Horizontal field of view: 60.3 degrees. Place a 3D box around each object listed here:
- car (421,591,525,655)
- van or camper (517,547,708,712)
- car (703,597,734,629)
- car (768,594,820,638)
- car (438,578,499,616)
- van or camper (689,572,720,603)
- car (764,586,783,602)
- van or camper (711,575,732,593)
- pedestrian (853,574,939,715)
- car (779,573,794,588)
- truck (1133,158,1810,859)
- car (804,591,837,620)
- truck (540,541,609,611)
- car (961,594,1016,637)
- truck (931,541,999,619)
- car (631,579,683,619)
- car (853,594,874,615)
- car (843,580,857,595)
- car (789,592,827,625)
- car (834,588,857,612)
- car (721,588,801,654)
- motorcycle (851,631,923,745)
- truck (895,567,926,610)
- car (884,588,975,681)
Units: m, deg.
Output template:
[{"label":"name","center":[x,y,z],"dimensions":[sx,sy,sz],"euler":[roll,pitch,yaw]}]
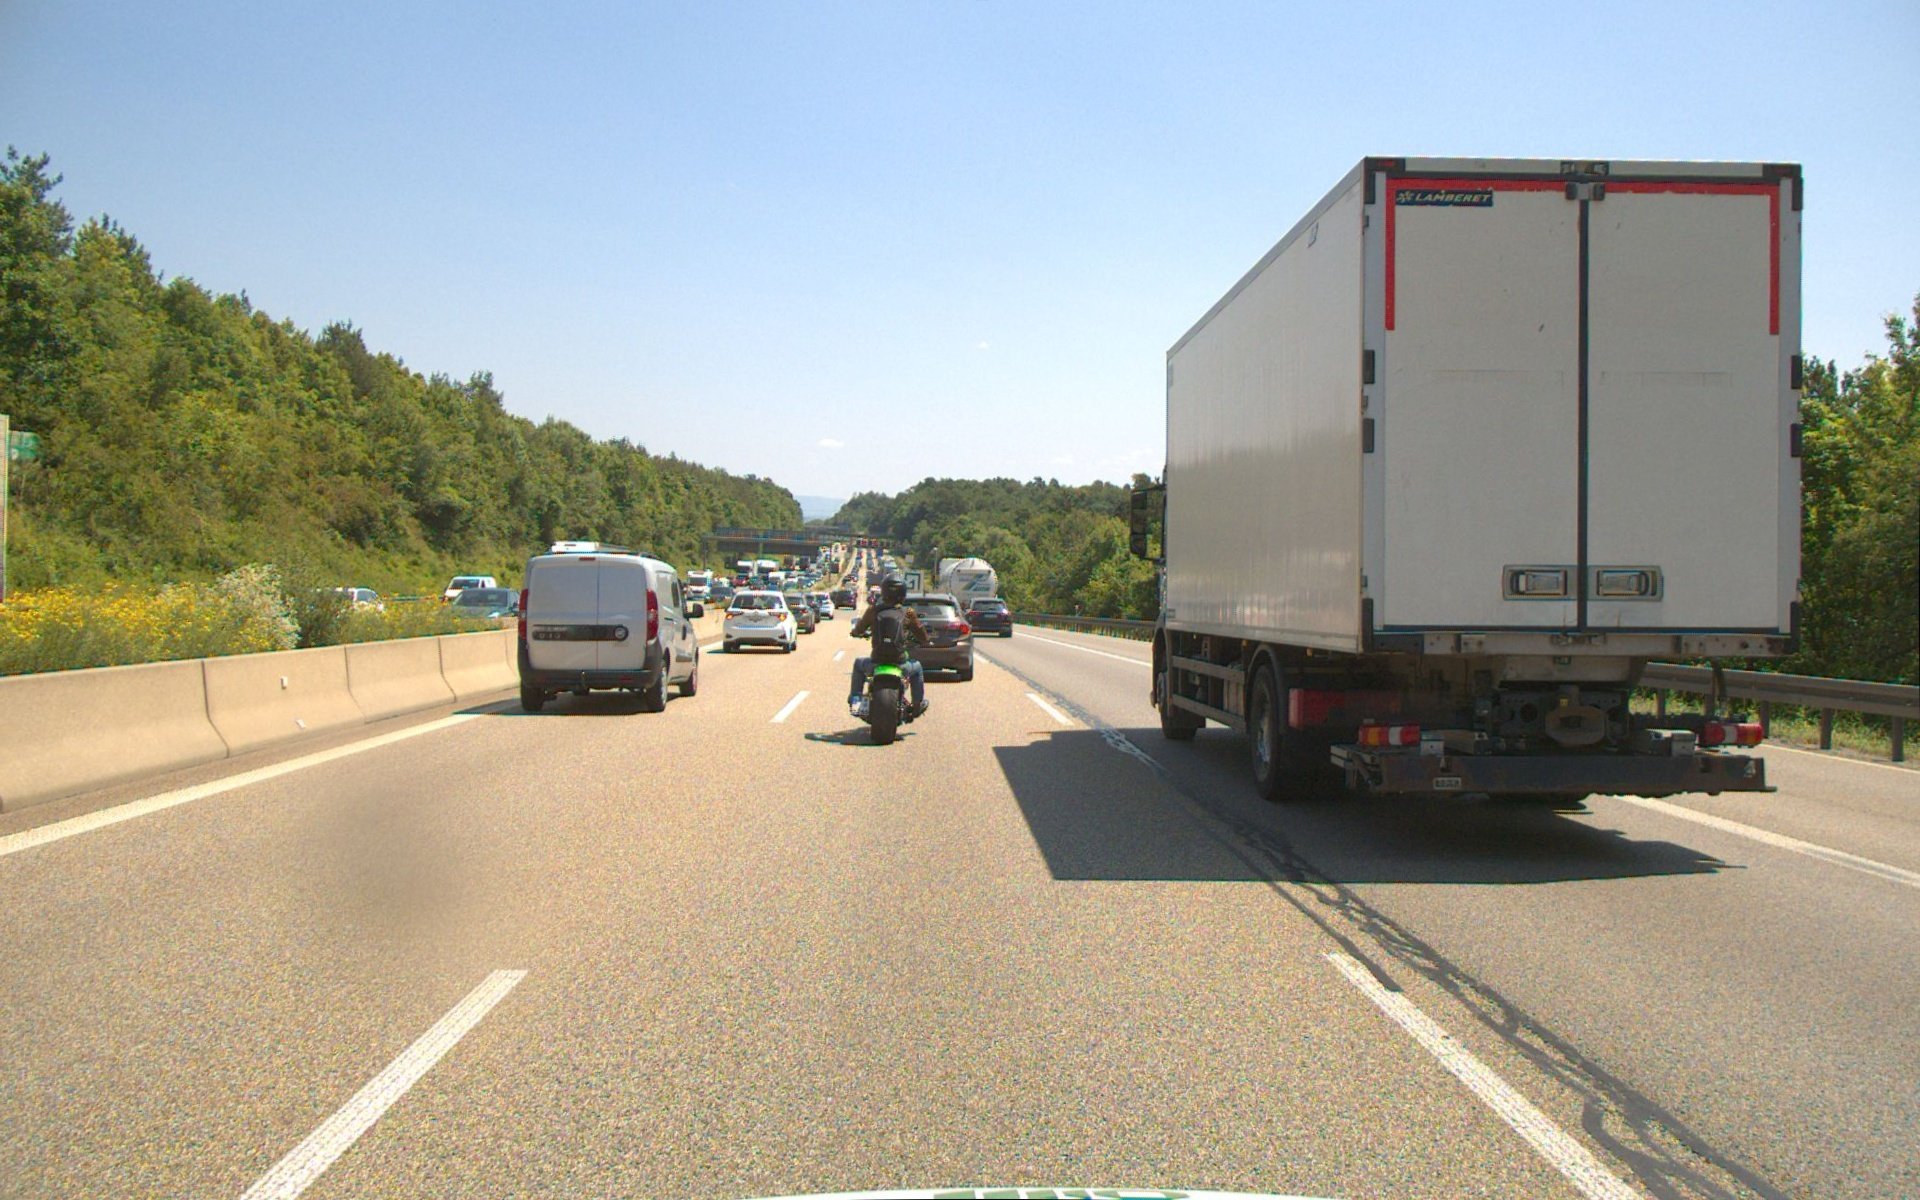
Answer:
[{"label":"car","center":[-12.076,0.536,41.220],"dimensions":[1.584,1.493,3.752],"euler":[1,0,-2]},{"label":"van or camper","center":[-4.409,0.360,21.560],"dimensions":[1.760,1.925,4.157],"euler":[1,0,-3]},{"label":"car","center":[-15.883,0.853,109.043],"dimensions":[1.729,2.049,3.996],"euler":[1,0,-4]},{"label":"car","center":[-6.135,0.570,61.433],"dimensions":[1.666,1.504,3.998],"euler":[3,1,-3]},{"label":"car","center":[-25.634,-0.135,86.499],"dimensions":[1.883,1.900,5.299],"euler":[1,0,-4]},{"label":"van or camper","center":[-23.735,-1.145,154.031],"dimensions":[2.224,2.783,6.801],"euler":[1,0,-3]},{"label":"car","center":[-19.444,-0.617,172.568],"dimensions":[1.677,1.564,4.125],"euler":[1,0,-3]},{"label":"van or camper","center":[-27.137,-1.837,188.403],"dimensions":[2.034,2.011,3.703],"euler":[1,0,-3]},{"label":"pedestrian","center":[-0.647,0.438,16.829],"dimensions":[0.832,1.385,0.961],"euler":[1,0,-2]},{"label":"car","center":[-22.581,-2.533,215.694],"dimensions":[1.855,1.982,3.996],"euler":[1,0,-5]},{"label":"truck","center":[3.404,-0.538,14.223],"dimensions":[2.633,3.944,9.778],"euler":[0,0,-1]},{"label":"car","center":[-7.861,0.299,93.317],"dimensions":[1.666,1.504,3.998],"euler":[3,1,-3]},{"label":"truck","center":[-22.732,-1.370,97.904],"dimensions":[2.757,3.976,7.309],"euler":[1,0,-4]},{"label":"car","center":[1.067,0.575,64.100],"dimensions":[1.792,1.496,3.998],"euler":[3,0,-3]},{"label":"truck","center":[0.166,-0.936,84.113],"dimensions":[2.928,3.735,9.281],"euler":[1,0,-3]},{"label":"car","center":[-13.833,-0.057,75.652],"dimensions":[1.650,1.728,4.657],"euler":[1,0,-2]},{"label":"car","center":[-6.974,0.309,119.225],"dimensions":[1.364,1.489,2.778],"euler":[1,0,-1]},{"label":"car","center":[-15.547,-1.785,233.719],"dimensions":[1.891,2.049,3.998],"euler":[1,0,-3]},{"label":"car","center":[-7.544,0.390,82.506],"dimensions":[1.666,1.504,3.998],"euler":[3,1,-3]},{"label":"car","center":[-9.713,0.003,140.659],"dimensions":[1.843,1.892,3.998],"euler":[3,0,-3]},{"label":"car","center":[-4.930,0.488,41.447],"dimensions":[1.666,1.504,3.998],"euler":[3,1,-3]},{"label":"motorcycle","center":[-0.735,0.860,16.862],"dimensions":[0.677,1.033,2.120],"euler":[1,0,-2]},{"label":"truck","center":[-5.677,-1.356,188.949],"dimensions":[2.973,4.621,9.976],"euler":[4,0,-3]},{"label":"car","center":[-0.554,0.567,29.631],"dimensions":[1.502,1.536,3.999],"euler":[1,0,-1]}]
